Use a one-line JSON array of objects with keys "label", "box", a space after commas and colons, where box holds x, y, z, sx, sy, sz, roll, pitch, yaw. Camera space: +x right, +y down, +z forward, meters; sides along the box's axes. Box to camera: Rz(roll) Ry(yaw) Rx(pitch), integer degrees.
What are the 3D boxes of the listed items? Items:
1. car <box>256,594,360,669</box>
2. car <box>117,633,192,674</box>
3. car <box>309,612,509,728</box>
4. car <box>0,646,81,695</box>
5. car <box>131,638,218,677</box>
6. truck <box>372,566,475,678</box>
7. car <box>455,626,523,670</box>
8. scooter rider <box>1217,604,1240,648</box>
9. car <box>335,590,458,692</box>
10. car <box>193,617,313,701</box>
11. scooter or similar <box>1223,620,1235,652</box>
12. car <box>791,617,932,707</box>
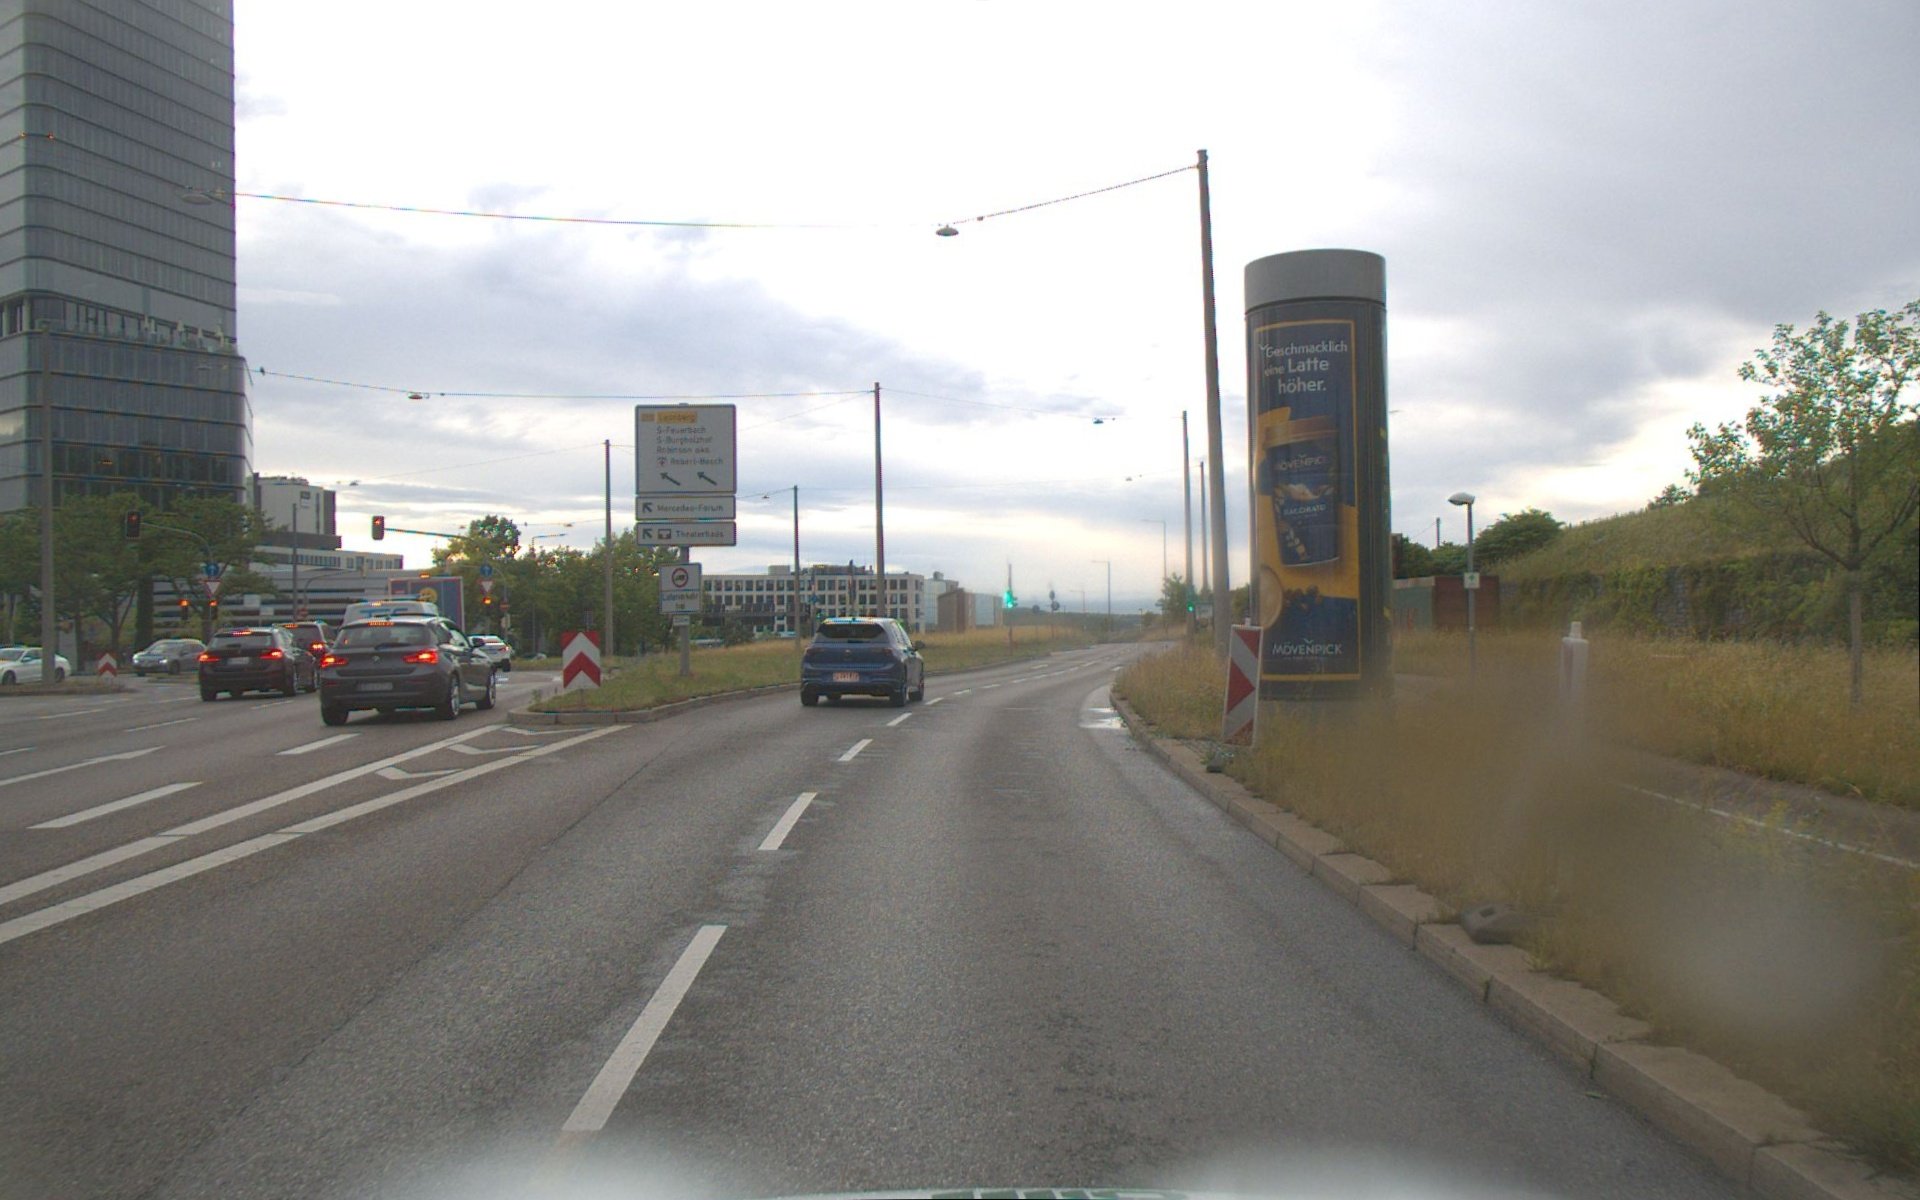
[{"label": "car", "box": [-16.473, 0.758, 41.945, 1.807, 1.711, 4.058, 3, 0, -13]}, {"label": "car", "box": [-39.253, 2.594, 80.667, 1.727, 1.870, 3.757, 0, 0, 1]}, {"label": "car", "box": [-7.760, 0.932, 23.674, 1.833, 1.487, 3.972, 0, 0, -5]}, {"label": "car", "box": [-34.617, 2.557, 60.745, 1.853, 1.687, 4.608, 0, -1, 5]}, {"label": "car", "box": [-35.788, 2.611, 75.444, 1.789, 1.686, 3.916, 0, -1, 7]}, {"label": "truck", "box": [-16.899, 0.676, 51.873, 2.629, 3.276, 6.505, 1, -1, -22]}, {"label": "car", "box": [-18.858, 1.948, 66.095, 1.896, 1.672, 4.353, 0, -3, -26]}, {"label": "scooter rider", "box": [10.260, 1.001, 63.218, 0.789, 1.657, 0.829, -2, -1, 8]}, {"label": "car", "box": [-12.168, 0.882, 35.999, 1.871, 2.007, 5.076, -2, -1, -12]}, {"label": "car", "box": [-14.765, 1.213, 34.722, 1.875, 1.591, 3.980, -2, -1, -18]}, {"label": "scooter or similar", "box": [10.230, 1.367, 62.982, 0.392, 1.217, 1.115, 2, -1, 8]}, {"label": "car", "box": [-1.615, 1.032, 28.464, 1.799, 1.418, 4.002, 0, -1, 6]}]
